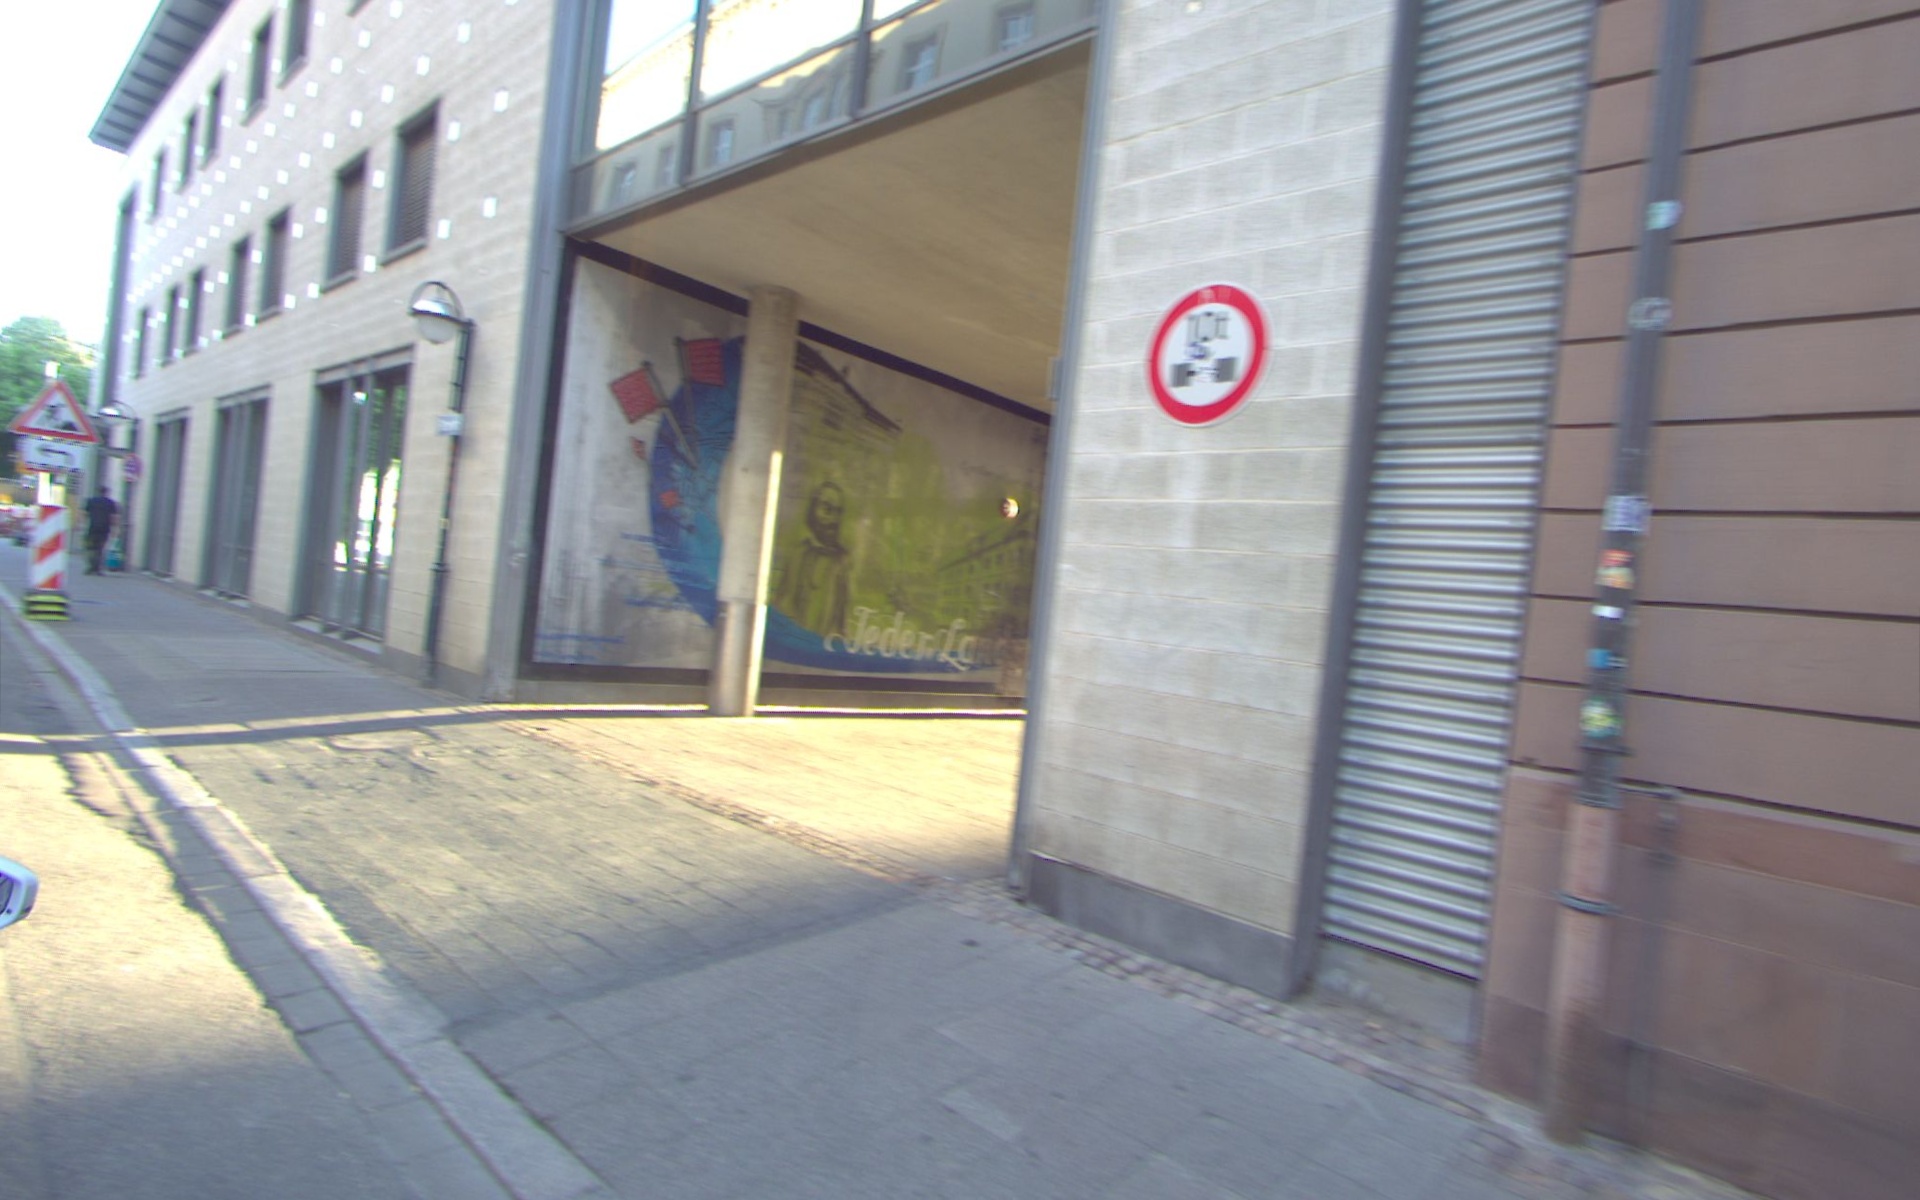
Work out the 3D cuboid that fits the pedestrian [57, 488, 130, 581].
[{"bbox_3d":[-17.376,-1.308,20.181,0.857,1.724,0.921,7,1,42],"label":"pedestrian"}]
